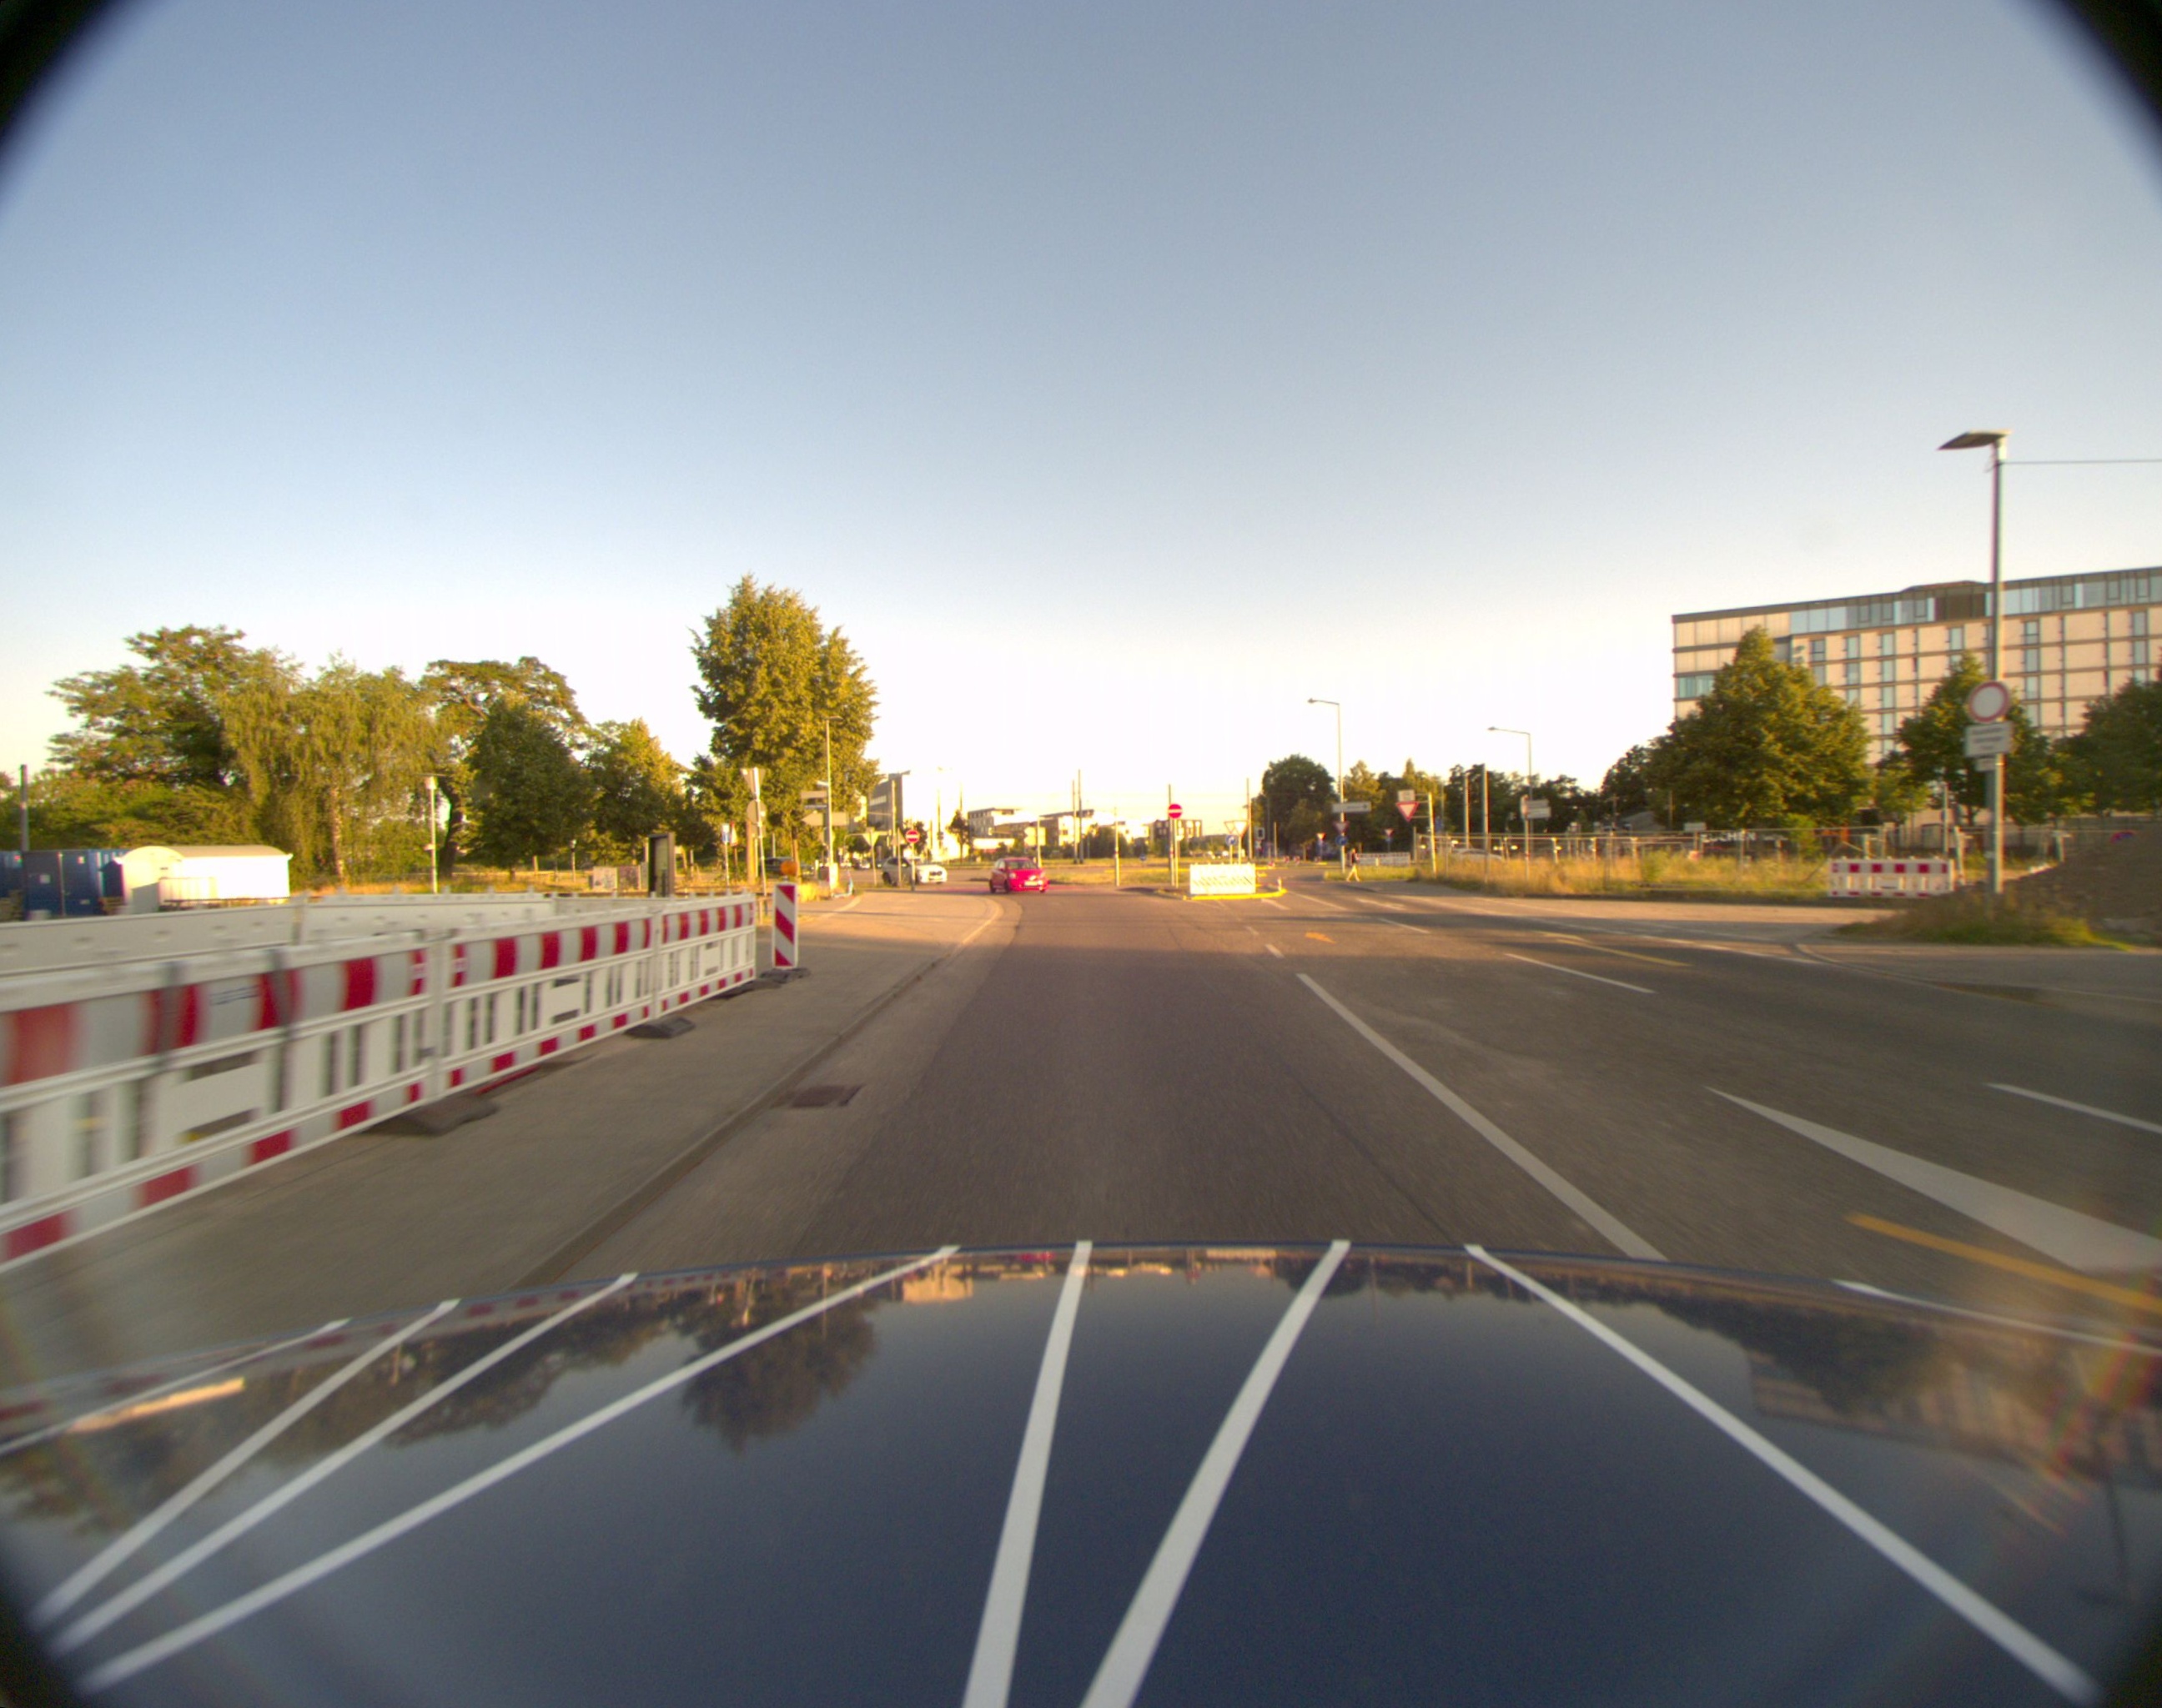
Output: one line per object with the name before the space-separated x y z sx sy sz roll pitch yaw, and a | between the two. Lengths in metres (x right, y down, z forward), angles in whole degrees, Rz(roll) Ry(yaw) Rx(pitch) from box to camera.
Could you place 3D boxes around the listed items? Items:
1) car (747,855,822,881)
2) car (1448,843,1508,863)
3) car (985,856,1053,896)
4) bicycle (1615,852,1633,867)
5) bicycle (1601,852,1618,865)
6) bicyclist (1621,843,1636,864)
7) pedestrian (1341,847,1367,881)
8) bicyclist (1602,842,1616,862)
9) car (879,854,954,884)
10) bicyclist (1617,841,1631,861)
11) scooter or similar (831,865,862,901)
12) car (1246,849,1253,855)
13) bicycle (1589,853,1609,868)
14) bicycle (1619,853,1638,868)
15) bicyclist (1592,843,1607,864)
car | -19.544 0.912 50.049 4.400 1.548 1.793 -1 1 18
car | 31.402 -0.064 60.094 4.000 1.455 1.630 -1 1 -9
car | -2.642 0.844 31.386 1.621 1.405 4.402 -2 1 -20
bicycle | 39.895 0.370 55.827 0.699 1.038 2.083 0 1 26
bicycle | 41.052 0.339 59.035 0.699 1.038 2.082 0 1 22
bicyclist | 37.886 -0.048 52.574 0.699 1.482 0.975 0 1 26
pedestrian | 13.594 0.506 37.805 0.927 1.685 0.786 0 1 -12
bicyclist | 41.095 -0.154 59.129 0.699 1.482 0.975 0 1 22
car | -9.236 0.836 42.524 4.397 1.548 1.795 -1 2 41
bicyclist | 39.920 -0.228 55.877 0.699 1.482 0.975 0 1 26
scooter or similar | -8.590 1.050 27.880 0.196 1.229 1.167 -1 2 34
car | 53.129 -0.699 239.014 1.996 2.002 4.004 0 1 14
bicycle | 36.184 0.458 53.090 0.699 1.038 2.082 0 1 22
bicycle | 37.887 0.432 52.578 0.699 1.038 2.083 0 1 26
bicyclist | 36.142 -0.031 52.993 0.699 1.482 0.975 0 1 22
